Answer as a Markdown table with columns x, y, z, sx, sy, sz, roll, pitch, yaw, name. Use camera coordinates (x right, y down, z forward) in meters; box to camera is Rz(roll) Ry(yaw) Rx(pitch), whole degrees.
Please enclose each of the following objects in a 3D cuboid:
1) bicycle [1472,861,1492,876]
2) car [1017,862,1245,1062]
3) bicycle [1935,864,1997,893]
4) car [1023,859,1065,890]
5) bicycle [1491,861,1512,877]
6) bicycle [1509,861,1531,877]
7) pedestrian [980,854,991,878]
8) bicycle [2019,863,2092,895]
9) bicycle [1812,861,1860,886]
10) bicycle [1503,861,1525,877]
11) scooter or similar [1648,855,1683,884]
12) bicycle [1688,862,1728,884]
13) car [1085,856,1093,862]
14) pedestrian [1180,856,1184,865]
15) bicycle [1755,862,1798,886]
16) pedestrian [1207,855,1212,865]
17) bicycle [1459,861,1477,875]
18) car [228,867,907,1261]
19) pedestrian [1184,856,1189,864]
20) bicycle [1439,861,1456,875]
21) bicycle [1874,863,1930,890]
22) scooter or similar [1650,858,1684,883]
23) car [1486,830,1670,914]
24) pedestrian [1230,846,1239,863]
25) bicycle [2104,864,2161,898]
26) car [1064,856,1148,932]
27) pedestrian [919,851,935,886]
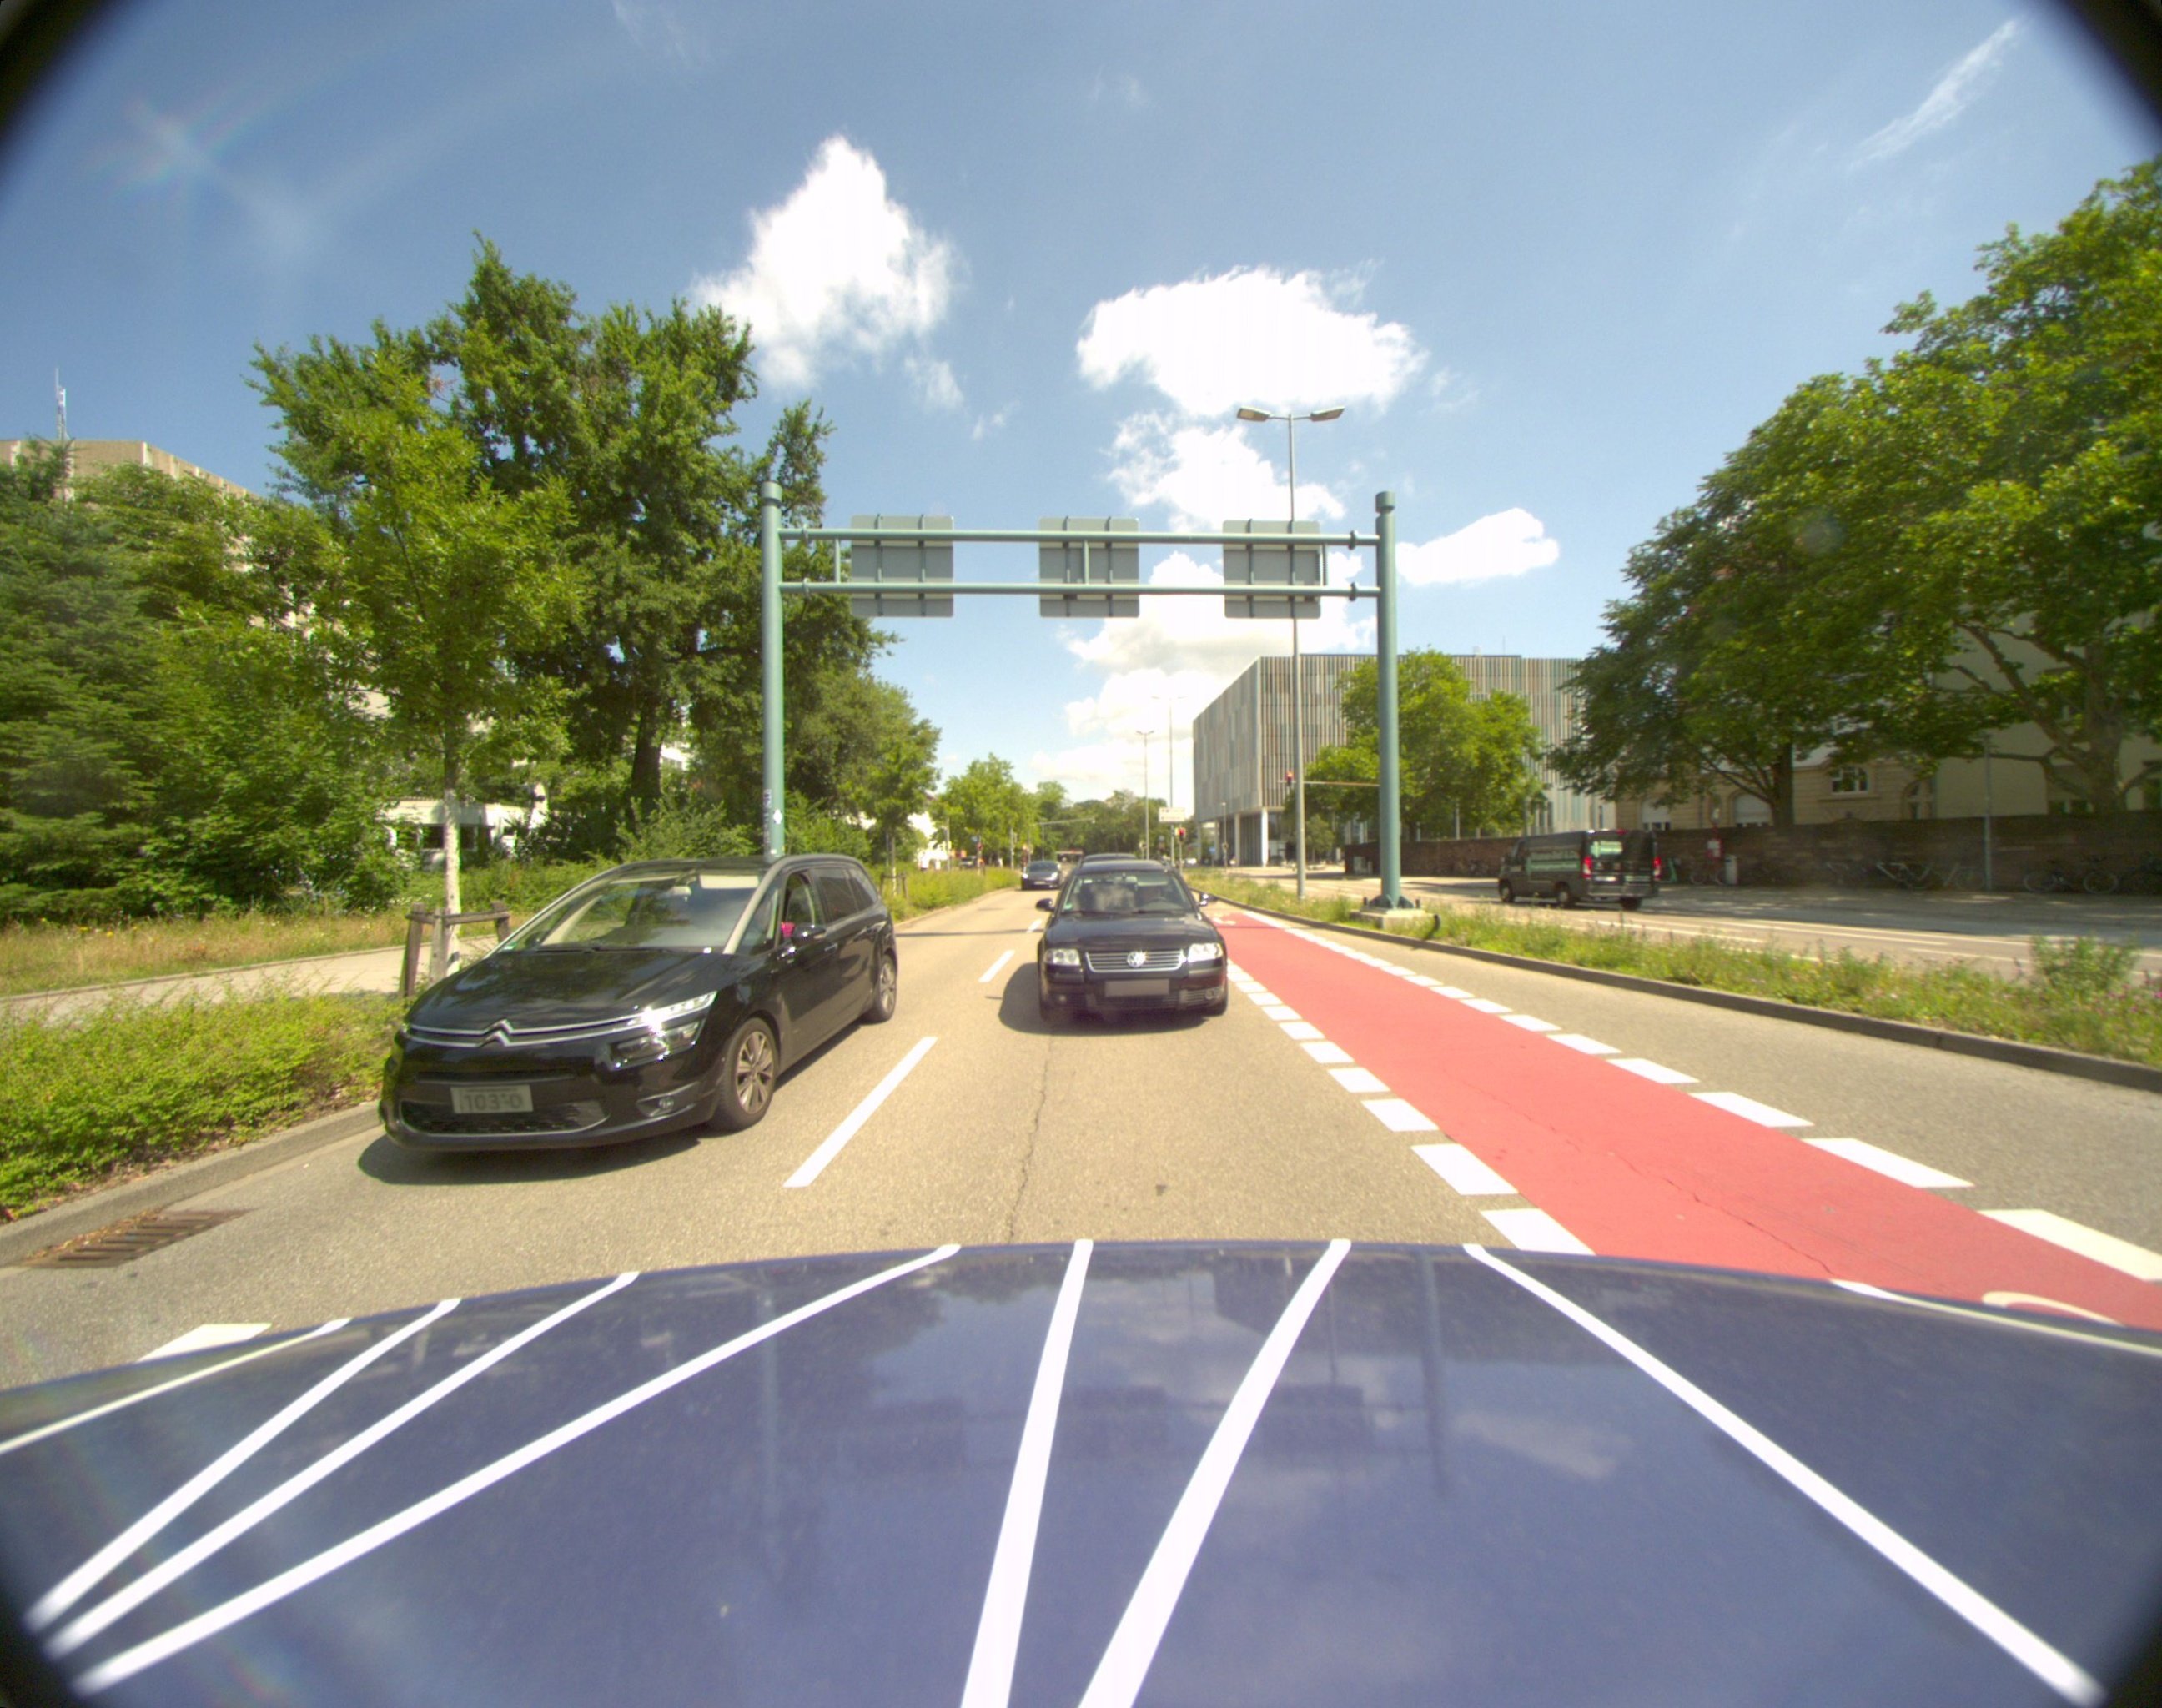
| x | y | z | sx | sy | sz | roll | pitch | yaw | name |
| --- | --- | --- | --- | --- | --- | --- | --- | --- | --- |
| 22.930 | 0.809 | 43.450 | 0.265 | 0.826 | 1.234 | -1 | 0 | -11 | bicycle |
| 0.422 | 0.872 | 8.258 | 1.723 | 1.472 | 4.594 | -3 | 0 | 1 | car |
| 26.242 | 0.725 | 22.549 | 0.265 | 0.826 | 1.235 | -1 | 0 | -11 | bicycle |
| -1.793 | 0.960 | 37.748 | 1.806 | 1.361 | 4.157 | -1 | 1 | 1 | car |
| 23.155 | 0.822 | 41.823 | 0.265 | 0.826 | 1.234 | -1 | 0 | -11 | bicycle |
| 23.361 | 0.794 | 40.428 | 0.265 | 0.826 | 1.234 | -1 | 0 | -11 | bicycle |
| -7.094 | 0.863 | 56.232 | 0.640 | 1.754 | 0.885 | -1 | 0 | -17 | pedestrian |
| 26.639 | 0.673 | 20.793 | 0.265 | 0.826 | 1.234 | -1 | 0 | -13 | bicycle |
| 25.684 | 0.653 | 25.871 | 0.265 | 0.826 | 1.235 | -1 | 0 | -11 | bicycle |
| 22.854 | 0.800 | 40.104 | 0.265 | 0.826 | 1.234 | -1 | 0 | -11 | bicycle |
| 23.872 | 0.626 | 31.050 | 0.265 | 1.182 | 1.234 | -1 | 0 | -11 | scooter or similar |
| 24.819 | 0.744 | 30.100 | 0.265 | 0.826 | 1.233 | -1 | 0 | -21 | bicycle |
| 2.132 | 1.425 | 205.359 | 1.758 | 1.581 | 4.275 | -1 | 0 | -4 | car |
| 16.666 | 1.035 | 125.643 | 0.696 | 1.445 | 0.689 | -1 | 0 | 5 | pedestrian |
| 25.189 | 0.711 | 27.540 | 0.265 | 0.826 | 1.235 | -1 | 0 | -11 | bicycle |
| 19.709 | 0.930 | 116.332 | 0.696 | 1.445 | 0.689 | -1 | 0 | 6 | pedestrian |
| 22.809 | 0.821 | 44.774 | 0.265 | 0.826 | 1.235 | -1 | 0 | -11 | bicycle |
| -2.759 | 0.959 | 5.561 | 1.816 | 1.598 | 4.479 | -3 | 0 | 1 | car |
| 18.078 | 0.996 | 130.073 | 0.696 | 1.445 | 0.689 | -1 | 0 | 5 | pedestrian |
| 22.492 | 0.858 | 46.669 | 0.265 | 0.826 | 1.235 | -1 | 0 | -11 | bicycle |
| 25.975 | 0.704 | 24.058 | 0.265 | 0.826 | 1.235 | -1 | 0 | -11 | bicycle |
| 24.575 | 0.688 | 31.870 | 0.266 | 1.014 | 1.140 | -1 | 0 | -22 | scooter or similar |
| 14.475 | 0.491 | 22.605 | 2.153 | 2.162 | 5.018 | 1 | 0 | 0 | car |
| 19.100 | 0.073 | 94.661 | 0.864 | 2.002 | 0.995 | -1 | 0 | -1 | pedestrian |
| 27.127 | 0.684 | 19.366 | 0.265 | 0.826 | 1.234 | -1 | 0 | -13 | bicycle |
| 0.558 | 0.854 | 18.424 | 1.723 | 1.545 | 4.594 | -3 | 0 | 1 | car |
| -9.089 | 0.846 | 44.735 | 0.846 | 2.026 | 0.901 | -1 | 0 | -9 | pedestrian |
